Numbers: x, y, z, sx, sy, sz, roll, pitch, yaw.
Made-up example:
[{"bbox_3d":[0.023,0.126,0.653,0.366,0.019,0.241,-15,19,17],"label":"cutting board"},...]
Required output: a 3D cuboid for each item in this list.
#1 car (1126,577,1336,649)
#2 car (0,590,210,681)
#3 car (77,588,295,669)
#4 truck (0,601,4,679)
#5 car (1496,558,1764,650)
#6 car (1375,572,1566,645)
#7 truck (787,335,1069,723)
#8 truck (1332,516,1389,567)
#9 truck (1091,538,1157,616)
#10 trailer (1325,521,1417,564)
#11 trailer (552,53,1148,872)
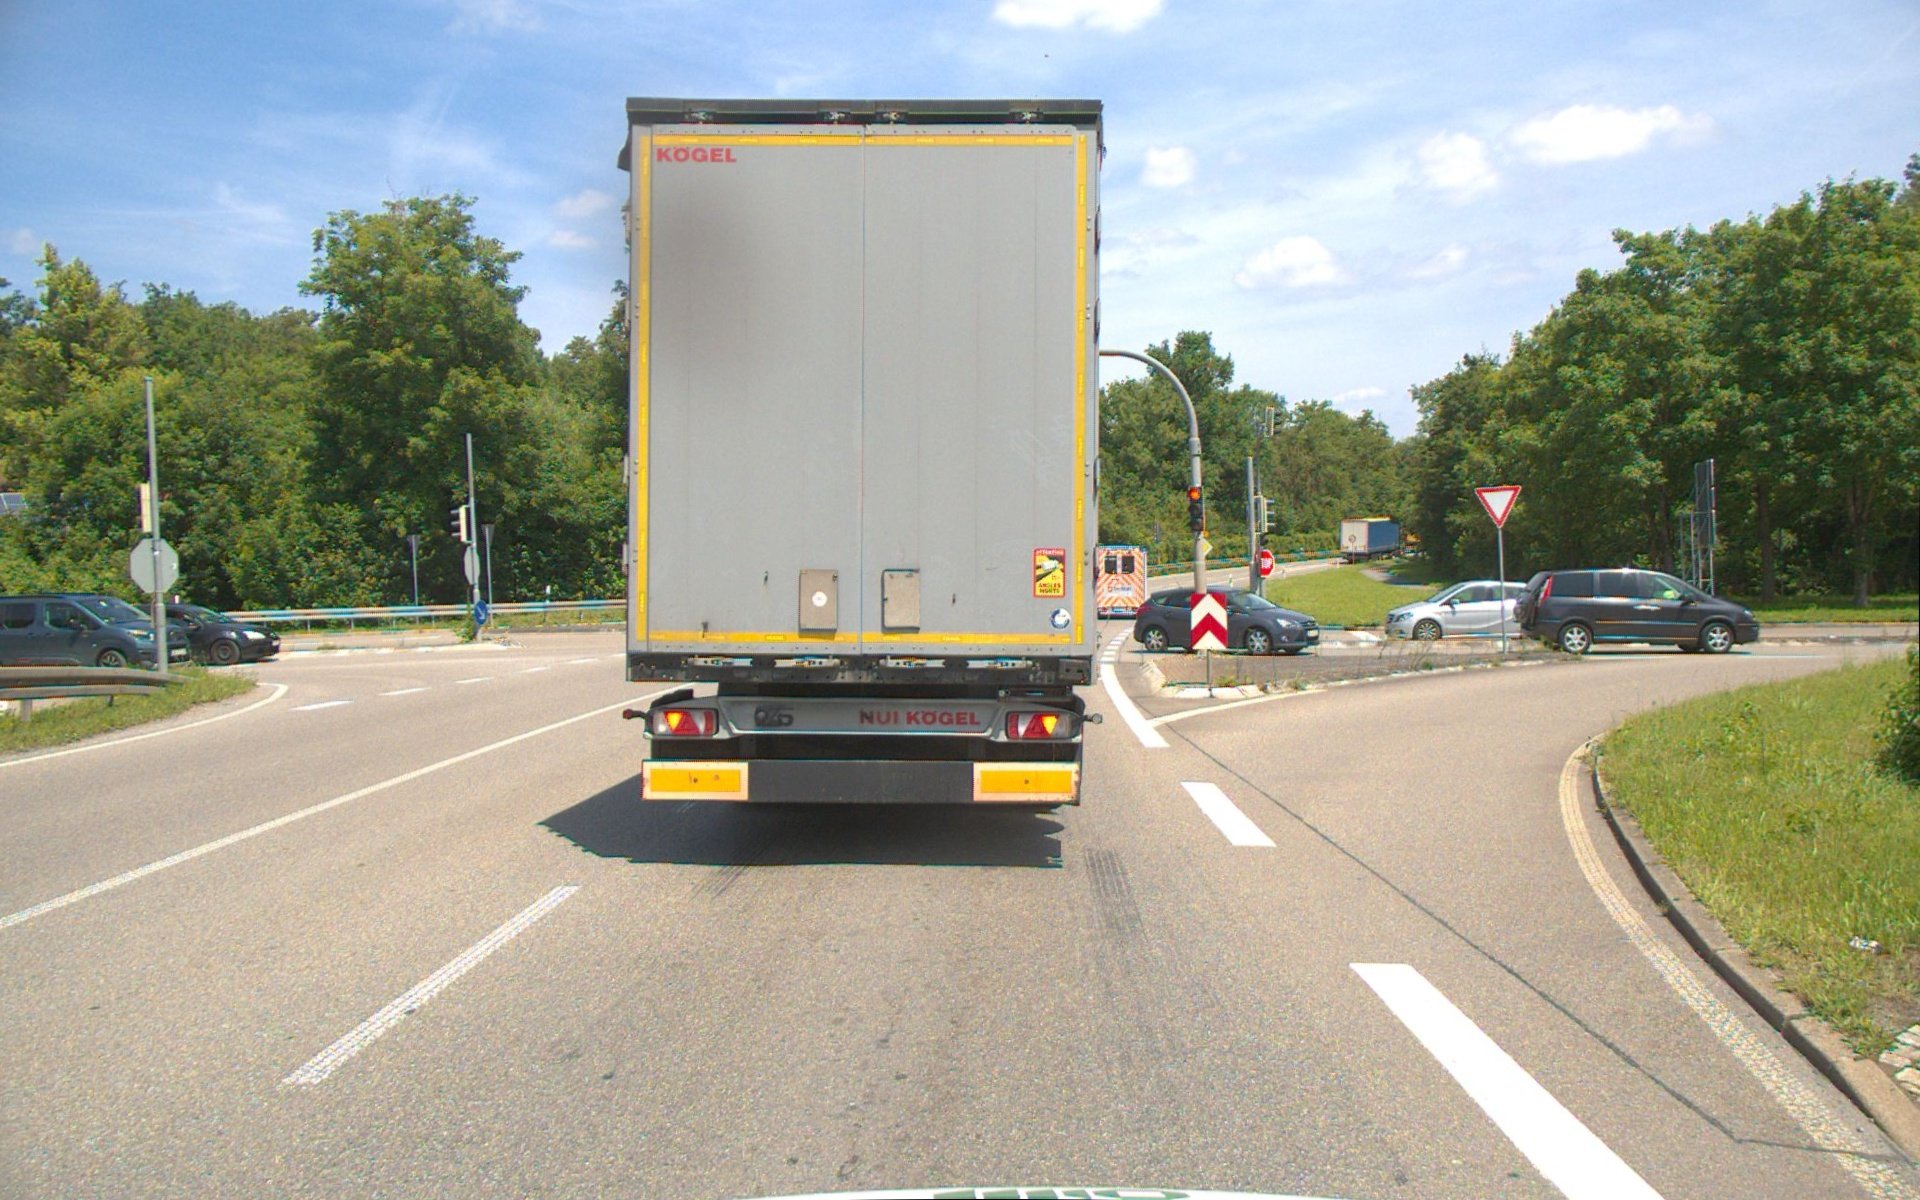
[{"bbox_3d":[5.992,0.311,36.741,4.176,1.517,1.991,-1,-2,38],"label":"car"},{"bbox_3d":[-17.957,0.725,34.070,4.143,1.801,2.002,0,0,9],"label":"car"},{"bbox_3d":[-17.835,0.645,38.205,4.143,1.801,2.002,0,0,9],"label":"car"},{"bbox_3d":[-24.492,0.875,37.130,4.791,1.823,2.036,1,-2,-13],"label":"truck"},{"bbox_3d":[13.863,0.102,34.467,4.821,1.816,2.001,1,-2,7],"label":"car"},{"bbox_3d":[12.962,0.235,42.217,4.334,1.748,2.001,1,-2,4],"label":"car"},{"bbox_3d":[-0.260,-0.773,20.846,2.975,4.104,6.630,0,0,1],"label":"truck"},{"bbox_3d":[38.442,-5.479,158.376,3.116,4.100,11.736,0,-2,25],"label":"truck"},{"bbox_3d":[6.447,-0.831,64.895,2.441,2.776,6.034,1,-2,6],"label":"truck"},{"bbox_3d":[45.399,-6.271,181.752,4.916,4.438,20.808,0,2,28],"label":"trailer"},{"bbox_3d":[-0.407,-0.729,14.588,2.988,4.104,12.561,0,0,1],"label":"trailer"}]
